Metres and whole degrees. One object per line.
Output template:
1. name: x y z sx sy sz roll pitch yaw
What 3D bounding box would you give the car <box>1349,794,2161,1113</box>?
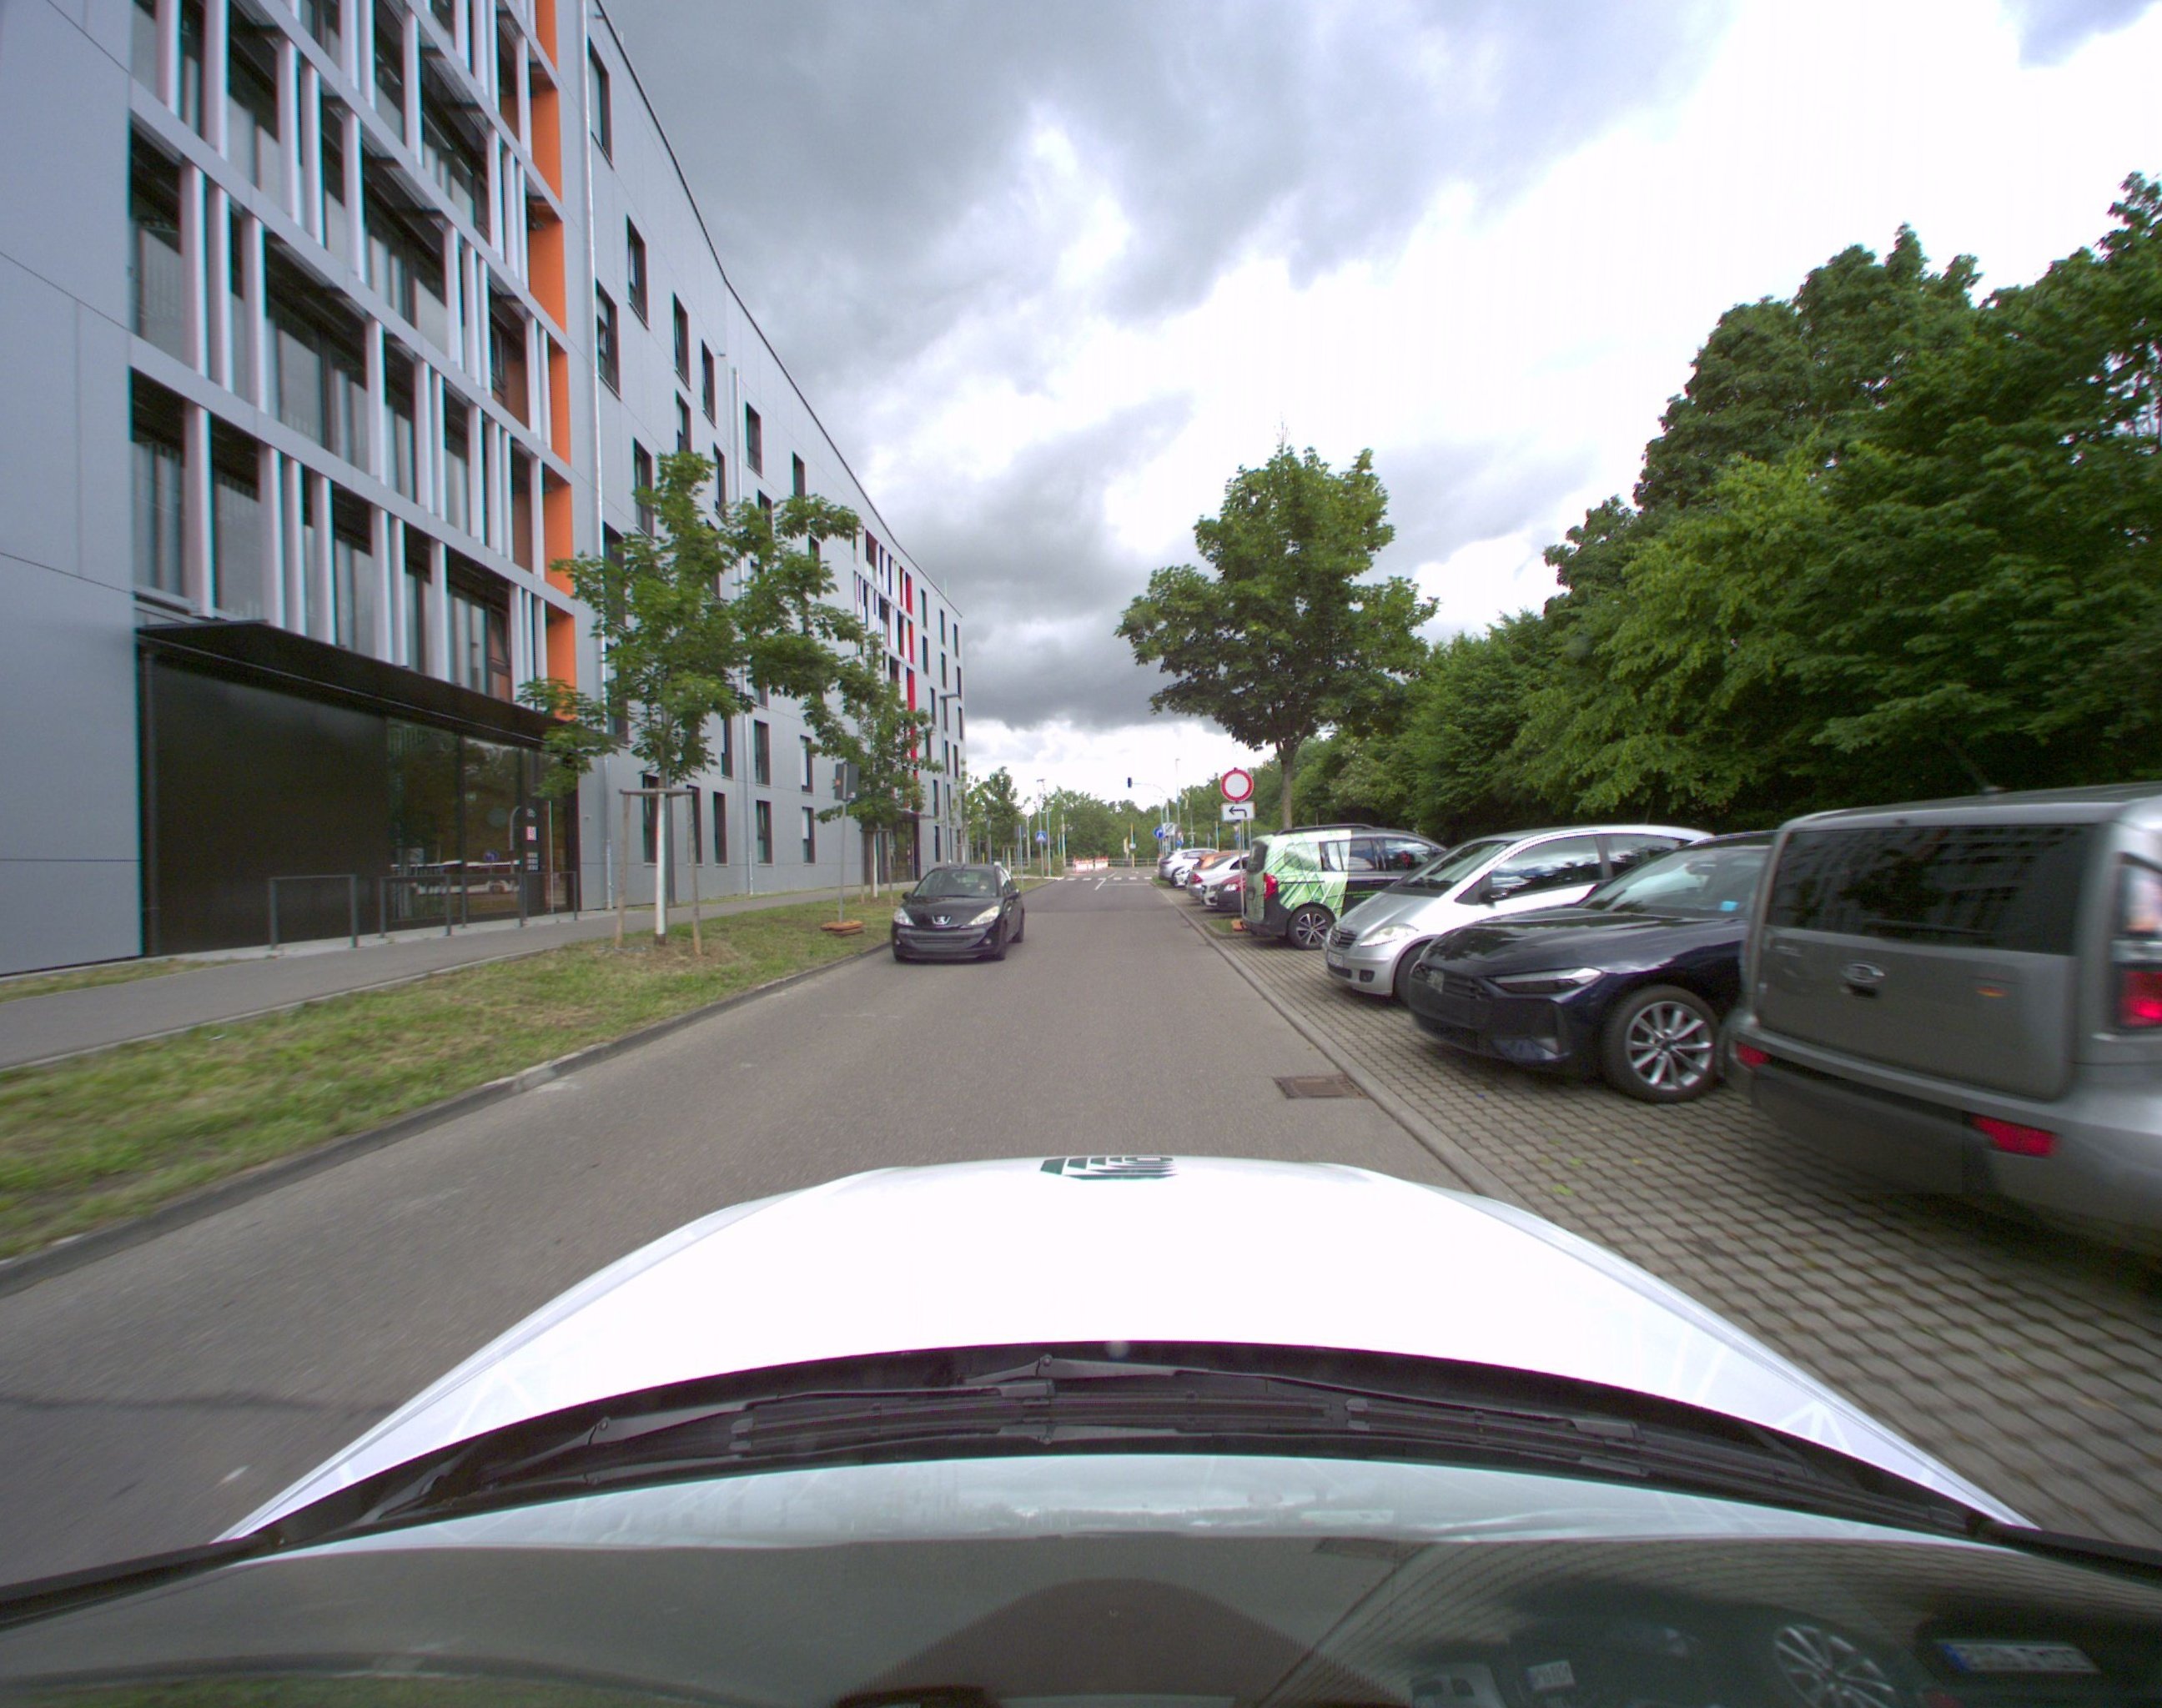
1. car: 4.580 0.509 5.608 4.714 1.498 2.110 -4 0 -3

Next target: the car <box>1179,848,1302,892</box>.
1. car: 6.036 0.584 31.202 4.364 1.582 1.916 -1 0 0

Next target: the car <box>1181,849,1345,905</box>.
1. car: 5.195 0.625 23.699 4.364 1.475 1.916 -1 0 0

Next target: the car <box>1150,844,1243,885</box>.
1. car: 5.686 0.514 40.414 4.364 1.903 1.916 -1 0 0

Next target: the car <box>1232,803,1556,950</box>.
1. car: 4.795 0.326 12.992 4.364 1.904 1.916 -4 0 0

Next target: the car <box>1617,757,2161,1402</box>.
1. car: 4.641 0.437 2.981 4.051 1.609 1.892 -4 0 0

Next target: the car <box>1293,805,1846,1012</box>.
1. car: 4.585 0.478 8.190 4.364 1.577 1.916 -4 0 0

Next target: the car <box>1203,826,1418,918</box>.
1. car: 5.108 0.389 18.571 4.364 1.904 1.937 -1 0 0

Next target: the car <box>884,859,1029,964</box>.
1. car: -1.850 0.813 13.281 1.603 1.388 4.002 -1 0 2

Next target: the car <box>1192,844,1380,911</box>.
1. car: 5.167 0.583 20.970 4.364 1.573 1.916 -1 0 0

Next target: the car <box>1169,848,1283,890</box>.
1. car: 5.921 0.596 33.622 4.364 1.582 1.916 -1 0 0

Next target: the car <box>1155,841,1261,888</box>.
1. car: 5.551 0.445 35.990 4.364 1.903 1.916 -1 0 0

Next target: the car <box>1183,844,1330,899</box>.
1. car: 5.579 0.543 26.313 4.364 1.617 1.916 -1 0 0
